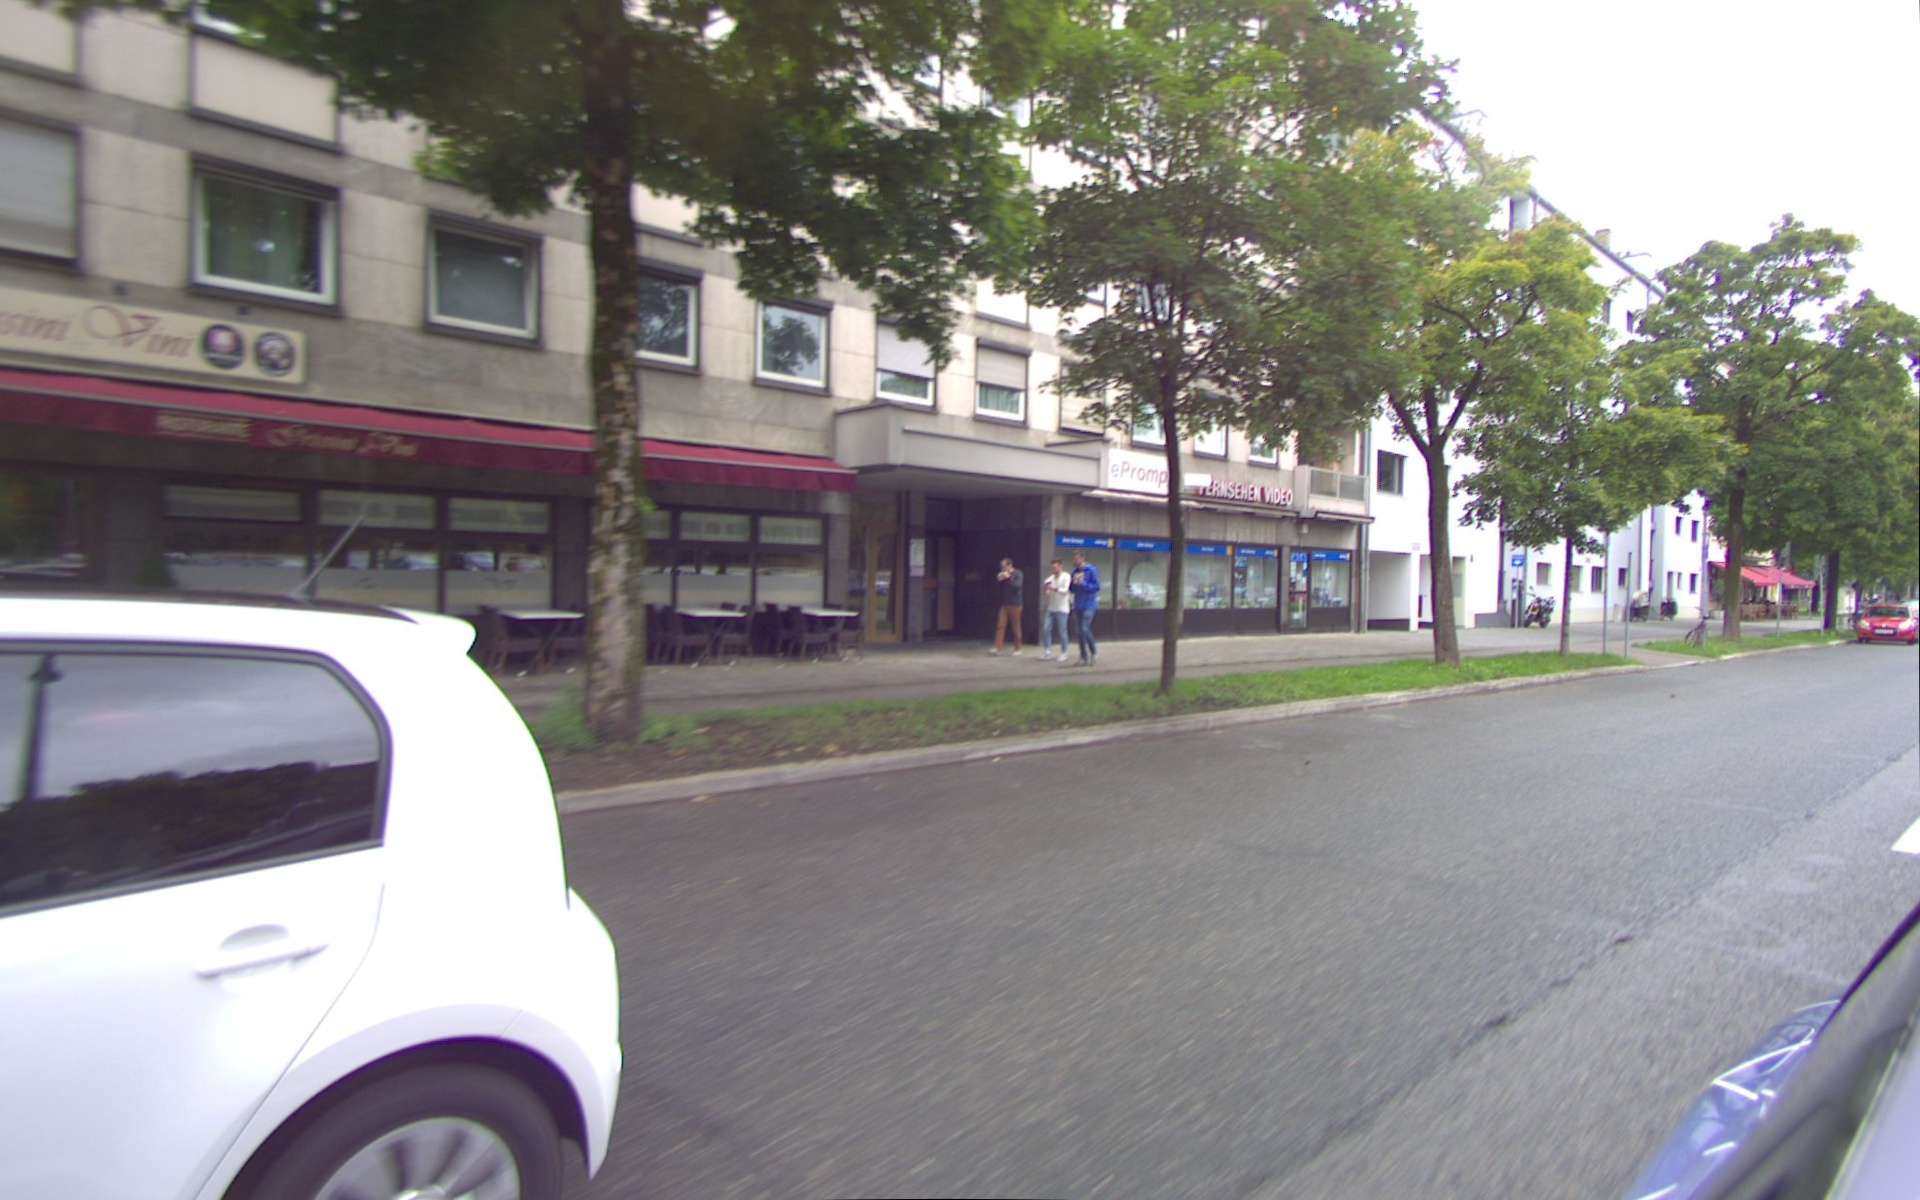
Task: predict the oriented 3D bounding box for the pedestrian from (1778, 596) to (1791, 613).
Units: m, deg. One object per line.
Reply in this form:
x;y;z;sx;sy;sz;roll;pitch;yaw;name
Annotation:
53.537;0.284;65.724;0.478;1.067;0.539;0;1;-40;pedestrian

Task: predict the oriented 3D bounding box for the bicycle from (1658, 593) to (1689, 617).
34.179;0.218;48.477;2.156;1.059;0.623;0;5;-40;bicycle

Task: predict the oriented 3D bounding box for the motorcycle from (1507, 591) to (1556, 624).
20.018;0.255;35.439;2.160;1.099;0.763;0;2;-40;motorcycle

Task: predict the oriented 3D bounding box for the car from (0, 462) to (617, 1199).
-2.509;0.552;1.564;3.375;1.509;1.689;0;0;-42;car

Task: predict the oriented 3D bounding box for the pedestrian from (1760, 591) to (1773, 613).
50.582;0.121;63.492;0.543;1.356;0.539;0;1;-41;pedestrian

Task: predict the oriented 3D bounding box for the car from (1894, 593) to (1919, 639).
39.610;0.645;41.150;4.427;1.768;1.833;0;1;-40;car

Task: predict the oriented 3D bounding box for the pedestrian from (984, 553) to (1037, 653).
0.871;0.042;17.347;0.712;1.661;0.541;0;1;-45;pedestrian

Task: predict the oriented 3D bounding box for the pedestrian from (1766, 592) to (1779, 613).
51.537;0.150;64.216;0.478;1.284;0.539;0;1;-41;pedestrian

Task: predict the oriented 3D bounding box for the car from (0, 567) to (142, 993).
-5.154;0.607;3.143;3.933;1.470;1.996;0;1;-44;car

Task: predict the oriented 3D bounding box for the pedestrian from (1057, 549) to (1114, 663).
1.990;0.084;16.028;0.720;1.754;0.501;0;2;-40;pedestrian

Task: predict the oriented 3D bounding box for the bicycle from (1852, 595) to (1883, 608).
81.869;0.106;91.346;0.653;1.081;2.028;0;1;-44;bicycle

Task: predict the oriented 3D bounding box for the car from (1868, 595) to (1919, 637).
35.311;0.575;37.508;3.922;1.459;1.527;0;1;-33;car

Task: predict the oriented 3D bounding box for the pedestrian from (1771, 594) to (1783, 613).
52.311;0.214;64.800;0.478;1.229;0.539;0;1;-40;pedestrian

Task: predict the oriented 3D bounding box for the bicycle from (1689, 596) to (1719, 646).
20.281;0.546;27.607;0.452;1.271;2.126;1;1;31;bicycle

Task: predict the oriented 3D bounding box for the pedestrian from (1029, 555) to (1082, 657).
1.588;0.093;16.887;0.630;1.649;0.550;0;2;-40;pedestrian

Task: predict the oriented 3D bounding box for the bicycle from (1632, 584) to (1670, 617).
31.402;0.012;45.982;2.547;1.424;0.704;0;5;-40;bicycle
